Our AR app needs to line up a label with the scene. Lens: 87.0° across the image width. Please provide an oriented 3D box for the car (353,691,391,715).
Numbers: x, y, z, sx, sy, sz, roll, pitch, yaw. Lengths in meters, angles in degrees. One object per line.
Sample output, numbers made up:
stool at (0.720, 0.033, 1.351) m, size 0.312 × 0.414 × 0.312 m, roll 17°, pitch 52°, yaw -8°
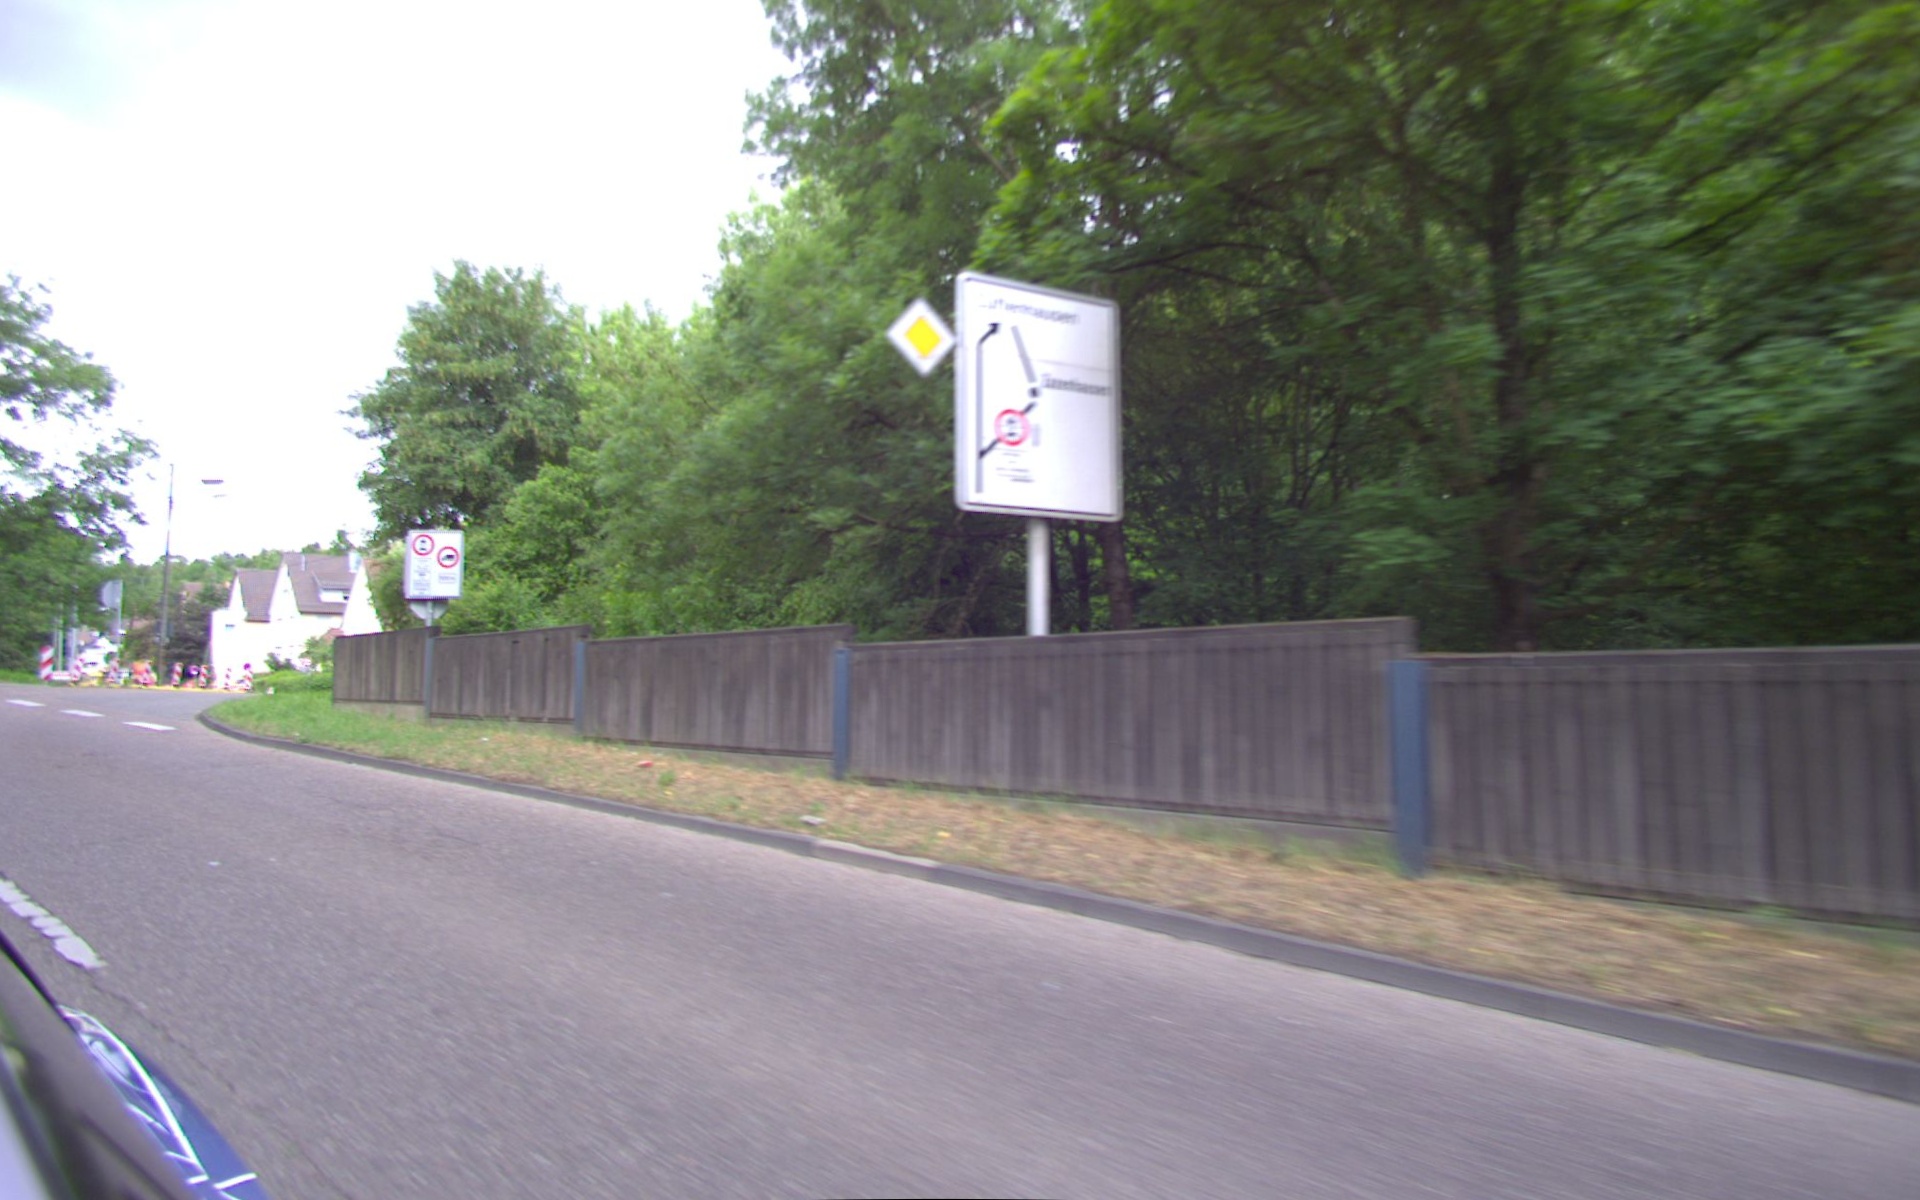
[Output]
car at (-39.949, 7.010, 68.800) m, size 1.727 × 1.400 × 4.012 m, roll 8°, pitch -9°, yaw -25°
